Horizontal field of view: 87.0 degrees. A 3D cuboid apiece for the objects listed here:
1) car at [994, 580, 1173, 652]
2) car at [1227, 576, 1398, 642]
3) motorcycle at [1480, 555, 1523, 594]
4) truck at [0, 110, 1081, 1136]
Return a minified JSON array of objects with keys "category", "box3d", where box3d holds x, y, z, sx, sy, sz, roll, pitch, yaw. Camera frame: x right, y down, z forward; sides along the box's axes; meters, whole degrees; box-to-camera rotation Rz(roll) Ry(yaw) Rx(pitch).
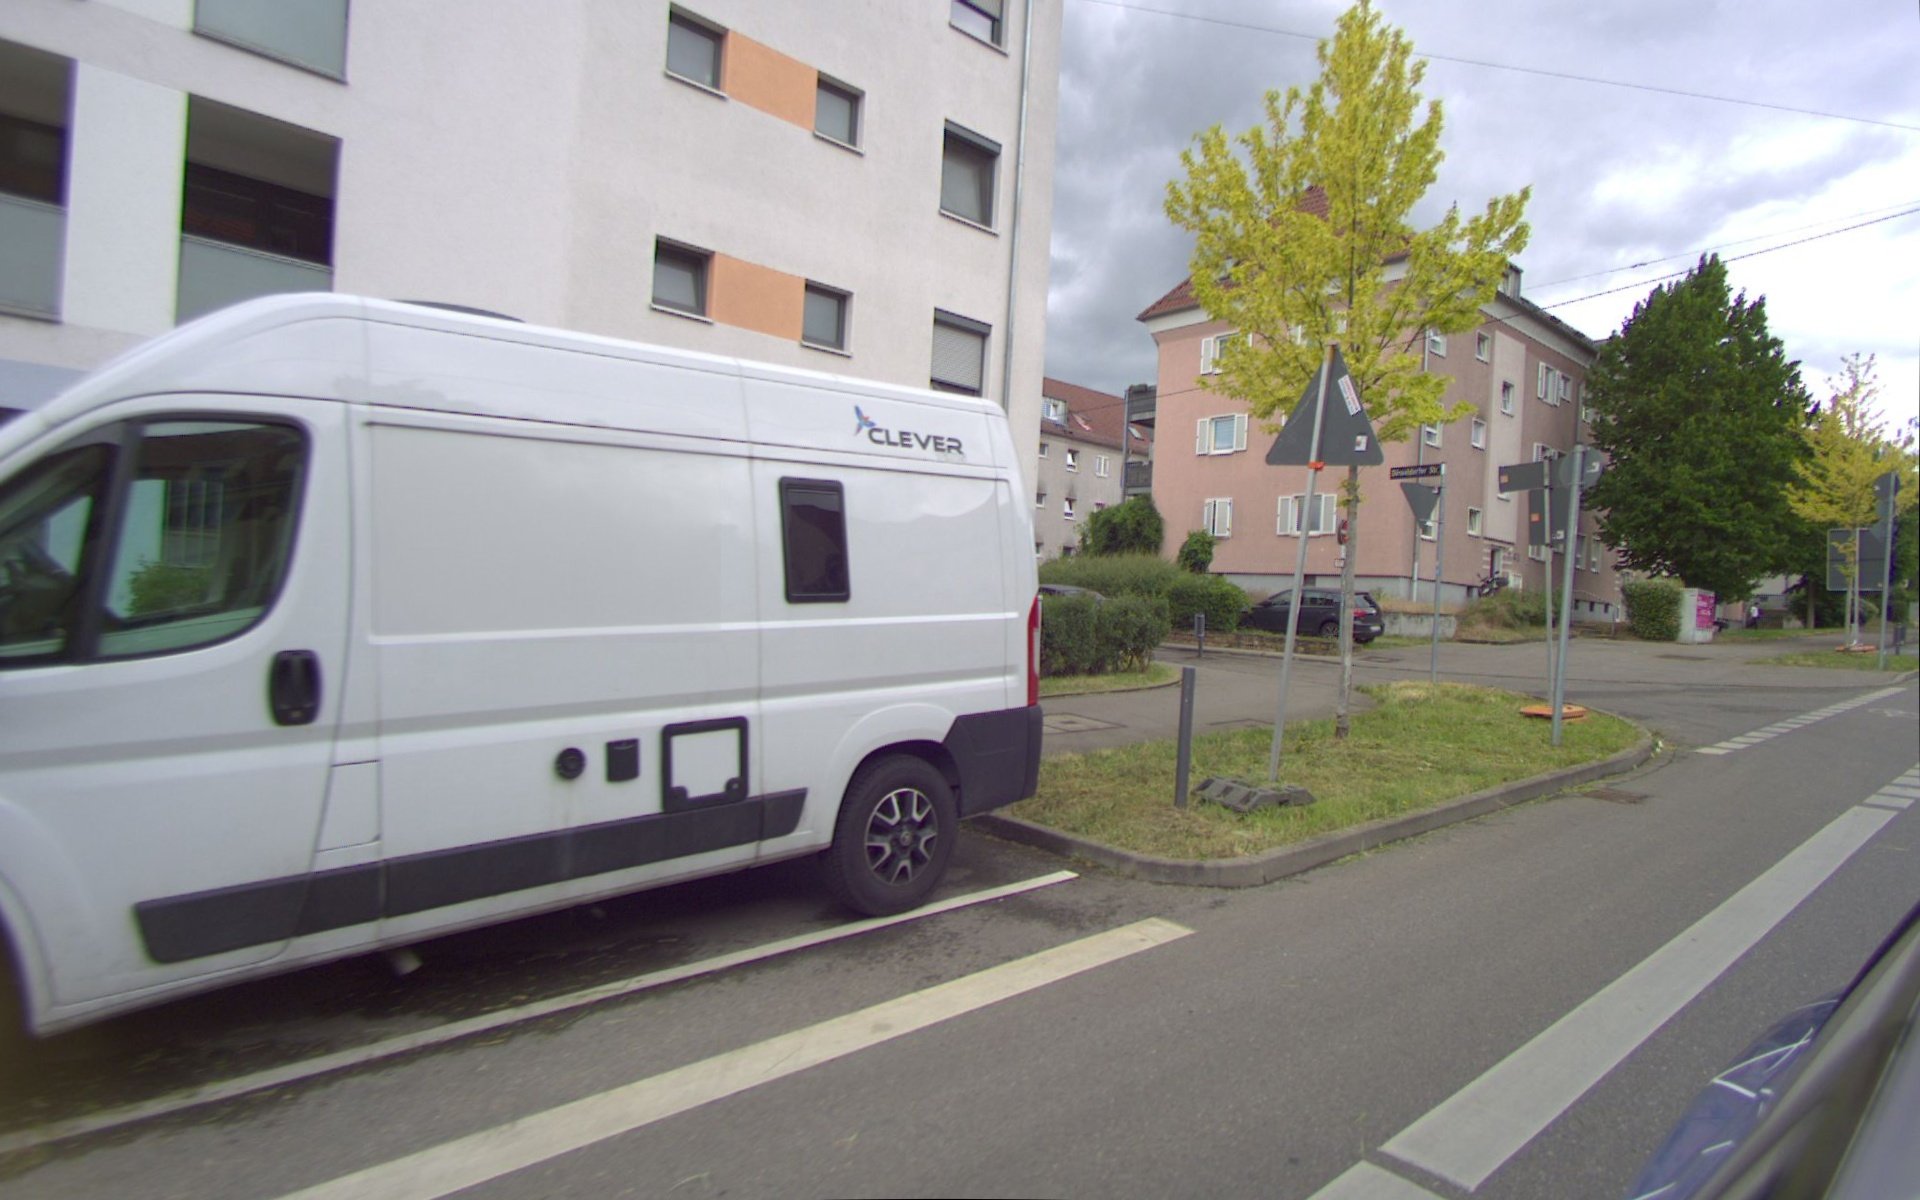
[{"category":"car","box3d":[2.729,0.306,23.060,1.728,1.474,3.997,1,1,-38]},{"category":"car","box3d":[9.234,0.168,26.791,1.659,1.470,3.997,-2,4,-39]},{"category":"motorcycle","box3d":[17.973,-0.845,33.563,1.933,1.243,0.591,0,1,-41]},{"category":"truck","box3d":[-2.159,0.048,4.174,5.590,2.598,2.056,0,1,-41]}]
